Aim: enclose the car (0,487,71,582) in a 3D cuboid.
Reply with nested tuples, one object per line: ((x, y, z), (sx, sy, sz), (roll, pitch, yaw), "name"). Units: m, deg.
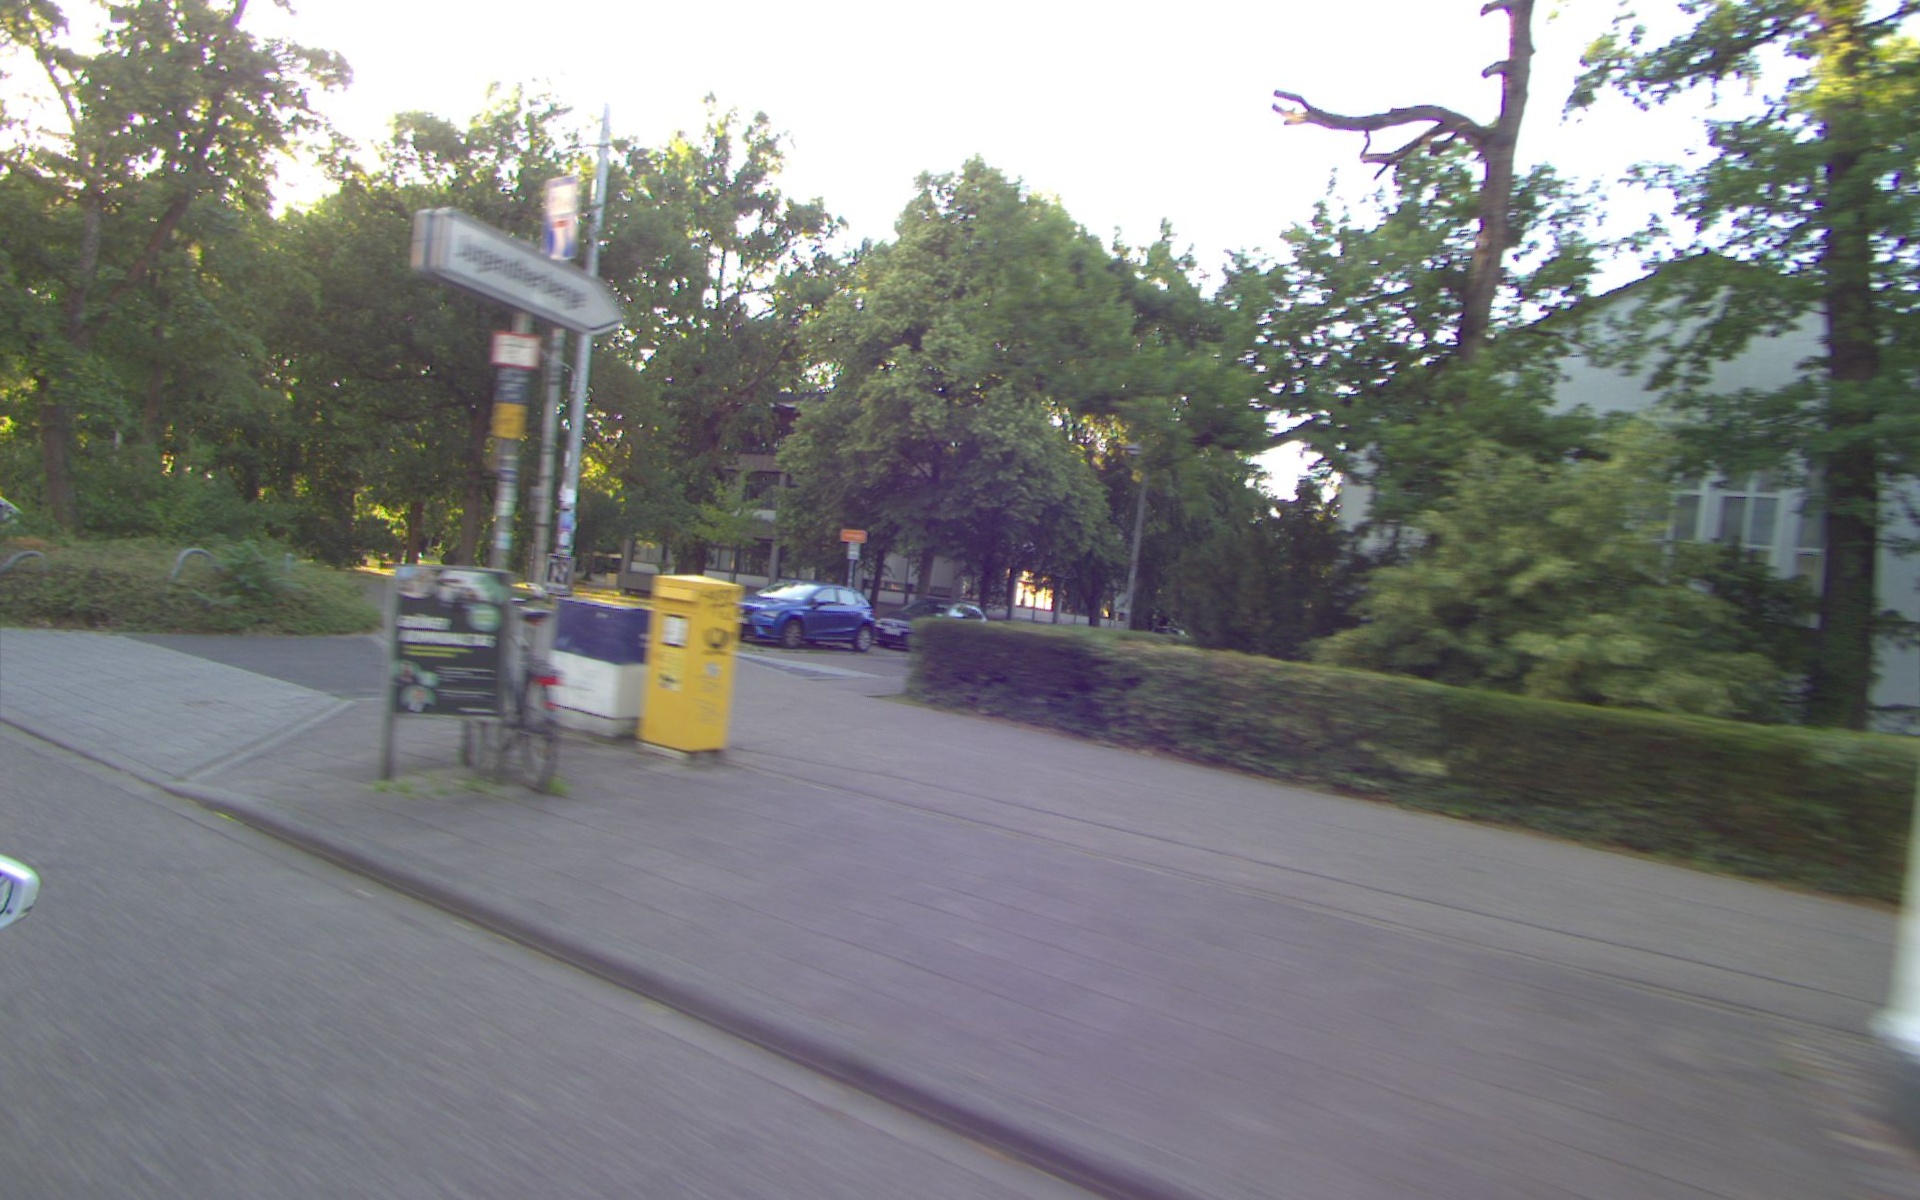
((-17.635, -1.248, 16.399), (1.698, 1.574, 4.366), (6, 1, 29), "car")

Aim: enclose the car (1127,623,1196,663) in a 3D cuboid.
((8.934, 1.919, 44.433), (1.707, 1.495, 3.993), (6, -1, 30), "car")

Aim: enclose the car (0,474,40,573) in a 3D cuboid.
((-19.455, -1.567, 17.743), (1.888, 1.804, 4.366), (6, 2, 29), "car")

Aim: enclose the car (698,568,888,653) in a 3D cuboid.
((-3.541, 0.285, 22.135), (1.805, 1.460, 4.146), (6, -1, 30), "car")

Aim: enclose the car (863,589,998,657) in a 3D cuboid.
((-0.711, 0.673, 27.156), (1.707, 1.495, 3.993), (6, -1, 30), "car")

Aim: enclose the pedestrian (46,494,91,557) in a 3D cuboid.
((-27.490, -2.292, 31.021), (0.772, 1.794, 0.665), (7, 1, 26), "pedestrian")

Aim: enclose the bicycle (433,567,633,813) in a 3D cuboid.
((-2.761, 0.461, 6.327), (0.489, 1.164, 2.259), (2, 4, -39), "bicycle")
